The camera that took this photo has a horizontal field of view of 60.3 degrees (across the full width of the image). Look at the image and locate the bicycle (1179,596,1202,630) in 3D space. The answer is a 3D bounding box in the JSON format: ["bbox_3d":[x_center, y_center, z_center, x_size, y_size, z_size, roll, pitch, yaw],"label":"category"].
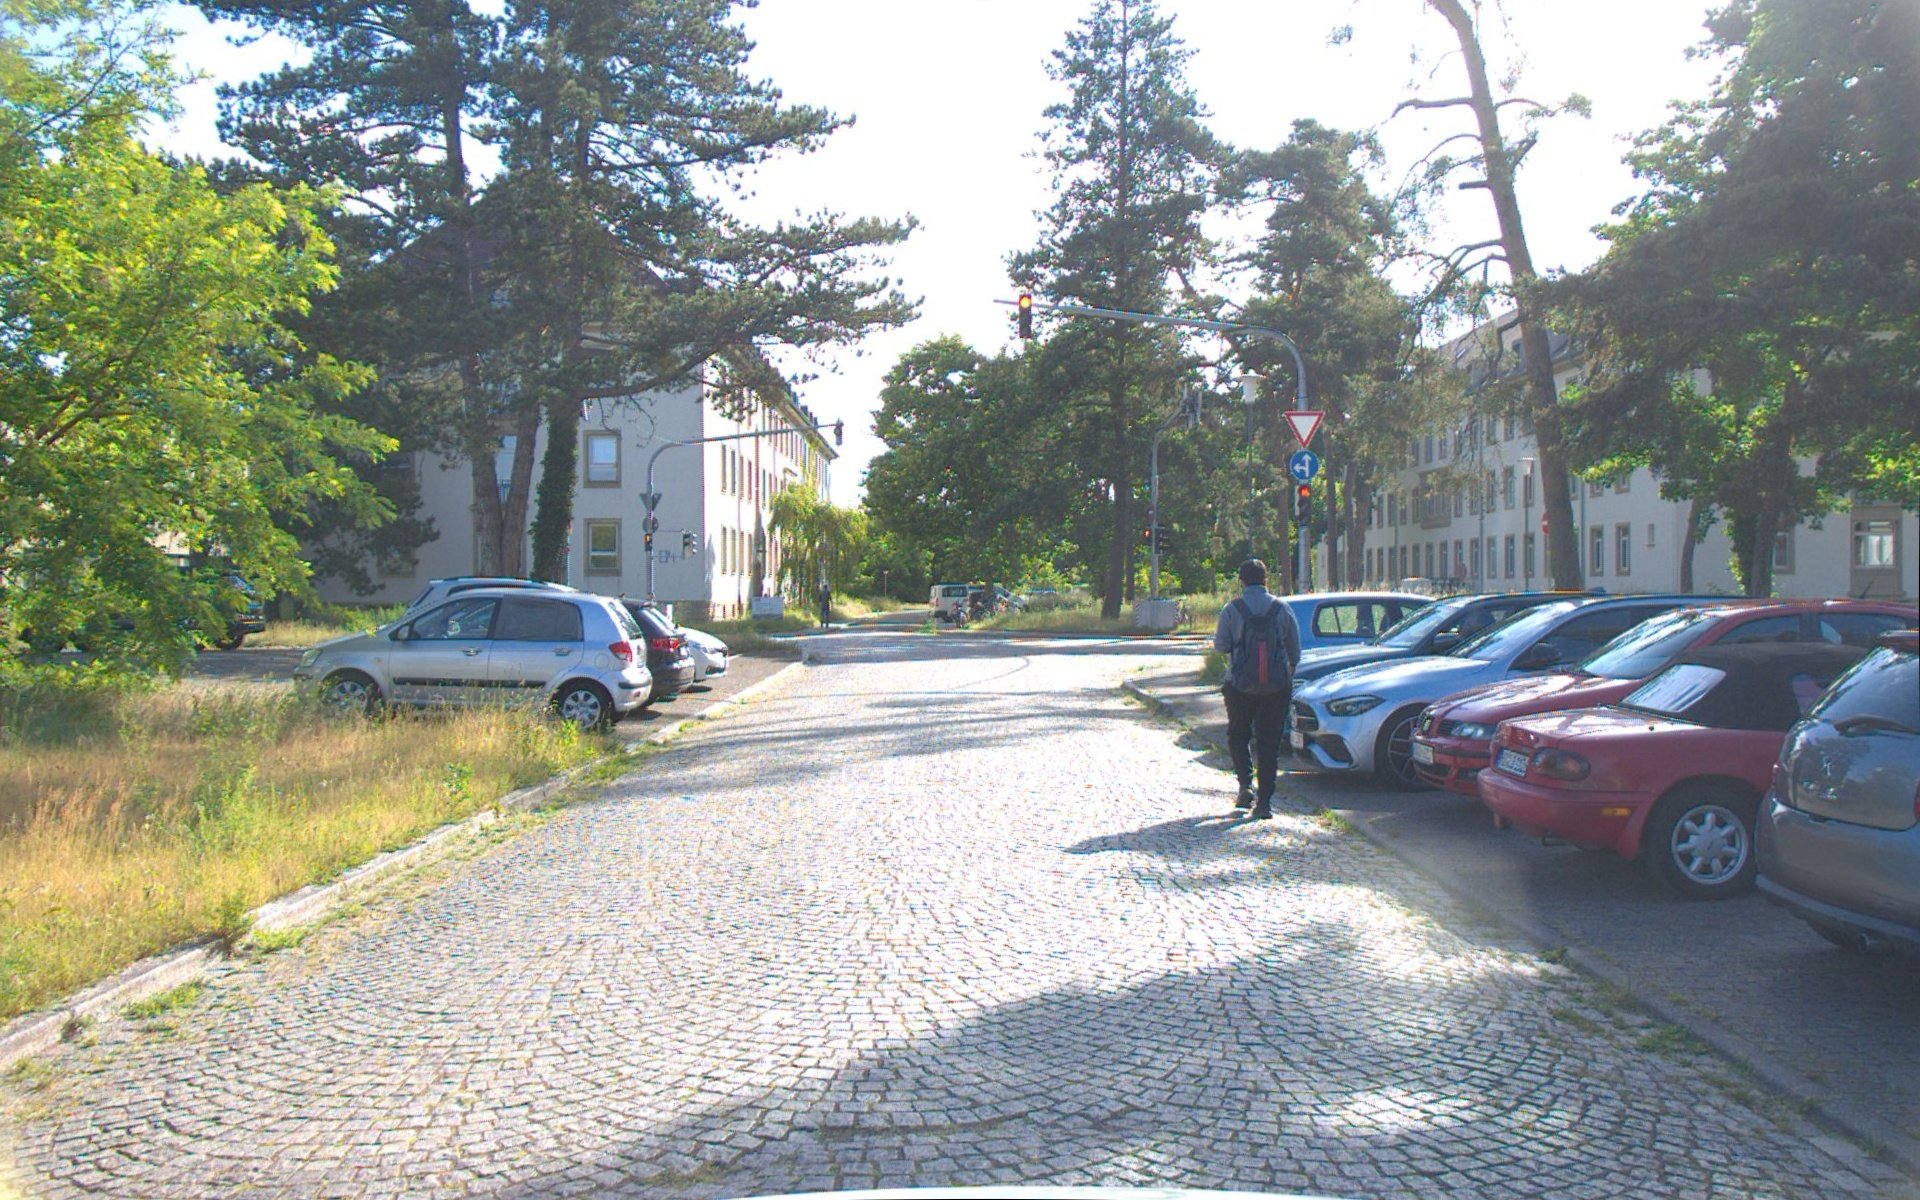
[{"bbox_3d":[7.816,0.425,56.043,0.706,1.134,2.586,0,0,9],"label":"bicycle"}]

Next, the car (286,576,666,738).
[{"bbox_3d":[-5.176,0.592,18.056,3.612,1.554,1.698,2,0,-3],"label":"car"}]

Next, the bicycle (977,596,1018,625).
[{"bbox_3d":[1.568,0.425,69.120,1.693,1.185,0.560,0,0,-4],"label":"bicycle"}]

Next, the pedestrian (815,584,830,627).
[{"bbox_3d":[-5.831,0.225,70.083,0.594,1.783,0.630,0,0,-1],"label":"pedestrian"}]

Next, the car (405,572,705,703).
[{"bbox_3d":[-5.655,0.508,23.426,3.801,1.643,1.660,2,0,-2],"label":"car"}]

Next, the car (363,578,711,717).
[{"bbox_3d":[-5.202,0.570,20.719,3.858,1.470,1.690,3,0,-2],"label":"car"}]

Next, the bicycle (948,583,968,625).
[{"bbox_3d":[-0.098,0.157,64.422,0.738,1.608,2.536,0,0,-1],"label":"bicycle"}]

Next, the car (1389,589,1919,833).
[{"bbox_3d":[5.128,0.701,11.379,3.898,1.474,1.655,-1,0,-1],"label":"car"}]

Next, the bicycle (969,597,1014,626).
[{"bbox_3d":[1.276,0.469,67.892,1.798,1.132,0.495,0,0,-4],"label":"bicycle"}]

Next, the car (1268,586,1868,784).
[{"bbox_3d":[4.907,0.653,13.752,4.310,1.413,1.788,-2,0,-2],"label":"car"}]

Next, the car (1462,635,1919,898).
[{"bbox_3d":[4.650,0.843,8.986,3.389,1.264,1.536,0,0,0],"label":"car"}]

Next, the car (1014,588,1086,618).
[{"bbox_3d":[4.850,0.142,89.743,3.673,1.607,1.738,0,0,-8],"label":"car"}]

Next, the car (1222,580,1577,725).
[{"bbox_3d":[4.957,0.575,18.976,3.598,1.468,1.665,-2,0,-1],"label":"car"}]

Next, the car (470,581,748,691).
[{"bbox_3d":[-5.497,0.541,26.171,3.903,1.522,1.774,2,0,4],"label":"car"}]

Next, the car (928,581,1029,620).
[{"bbox_3d":[0.937,0.025,85.791,4.974,1.951,1.995,0,0,-10],"label":"car"}]

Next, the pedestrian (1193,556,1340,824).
[{"bbox_3d":[2.132,0.604,11.595,0.738,1.755,0.828,4,0,-1],"label":"pedestrian"}]

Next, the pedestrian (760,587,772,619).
[{"bbox_3d":[-9.575,0.147,81.766,0.595,1.587,0.544,0,0,-7],"label":"pedestrian"}]

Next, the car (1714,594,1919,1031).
[{"bbox_3d":[5.100,0.687,6.385,3.588,1.480,1.666,-2,0,-1],"label":"car"}]

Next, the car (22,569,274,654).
[{"bbox_3d":[-16.253,0.209,33.273,4.058,1.636,2.010,0,0,0],"label":"car"}]

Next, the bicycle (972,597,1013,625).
[{"bbox_3d":[1.340,0.466,68.437,1.693,1.132,0.484,0,0,-4],"label":"bicycle"}]

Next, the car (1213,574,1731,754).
[{"bbox_3d":[4.961,0.585,16.438,4.527,1.481,1.869,-3,0,-3],"label":"car"}]
